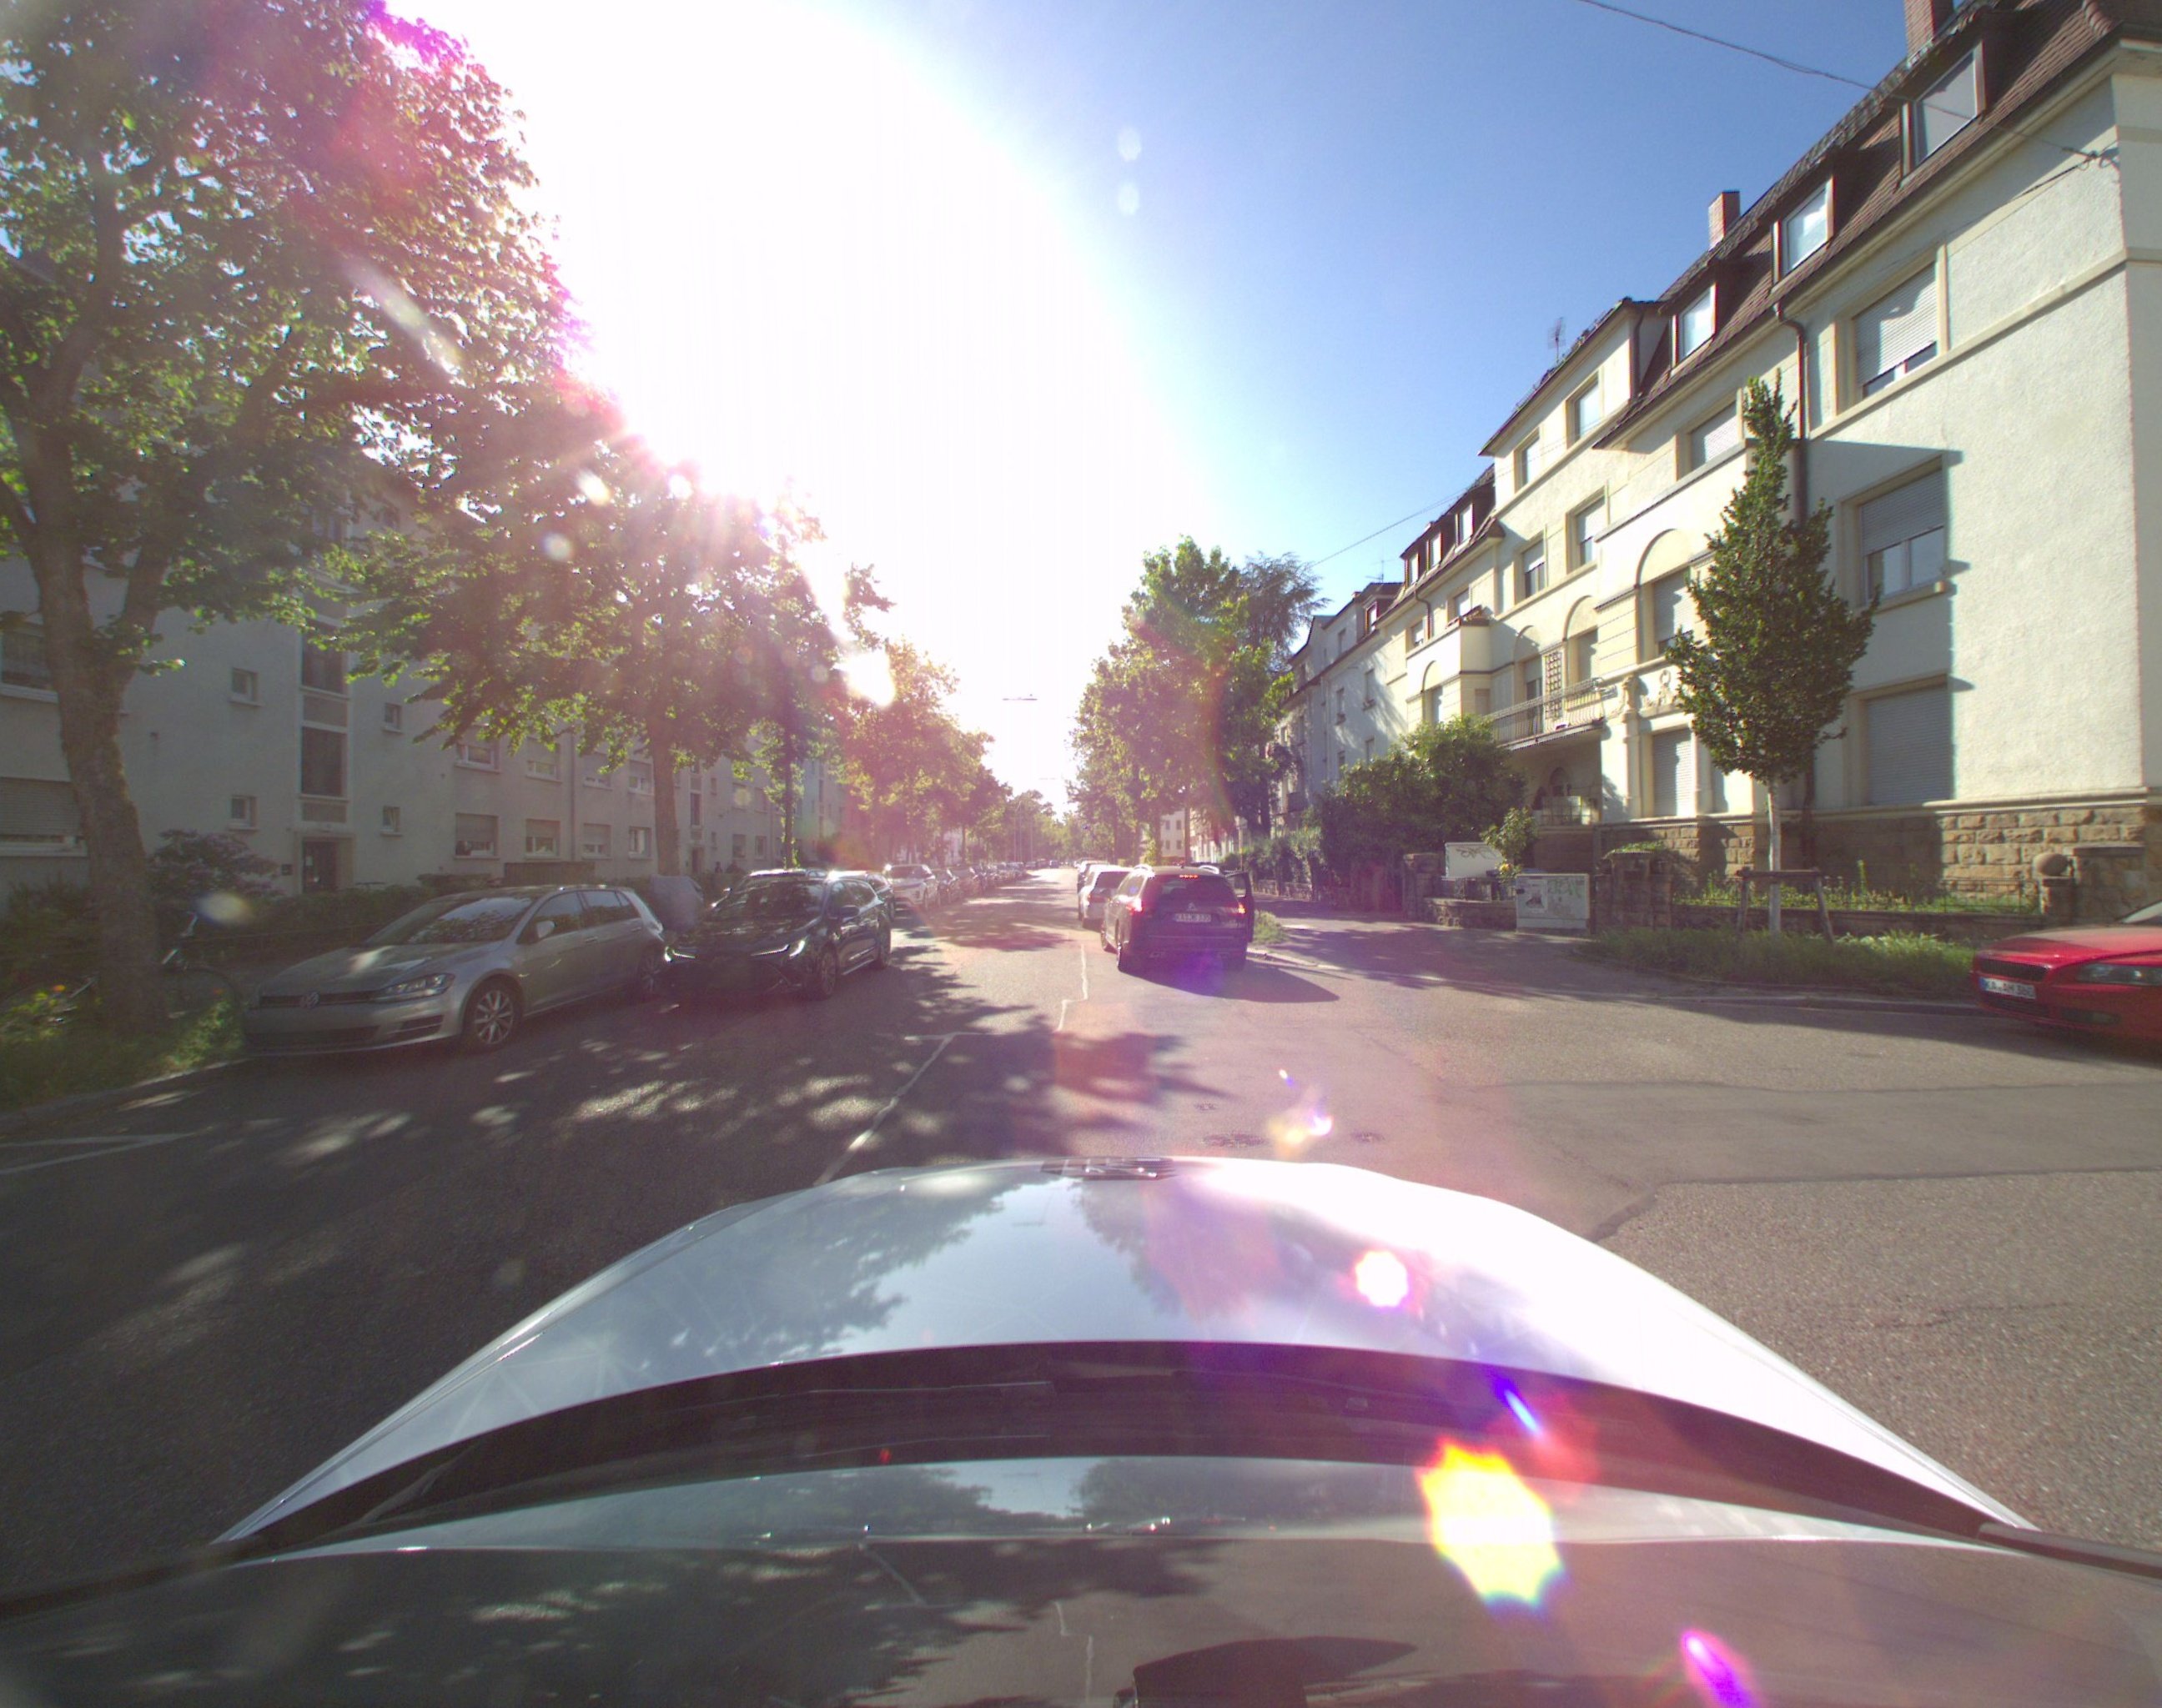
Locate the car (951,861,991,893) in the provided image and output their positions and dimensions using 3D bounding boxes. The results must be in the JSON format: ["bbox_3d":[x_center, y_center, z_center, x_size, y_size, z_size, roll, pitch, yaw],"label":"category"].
[{"bbox_3d":[-6.107,1.256,45.469,1.786,1.566,4.459,-4,0,-4],"label":"car"}]

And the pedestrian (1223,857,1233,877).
[{"bbox_3d":[8.706,0.755,48.241,0.507,1.142,0.756,0,-1,1],"label":"pedestrian"}]

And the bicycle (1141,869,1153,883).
[{"bbox_3d":[5.474,1.826,67.499,0.682,1.153,2.400,-1,-1,-3],"label":"bicycle"}]

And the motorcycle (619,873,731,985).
[{"bbox_3d":[-6.171,1.062,12.300,0.995,1.503,2.207,-1,-1,-40],"label":"motorcycle"}]

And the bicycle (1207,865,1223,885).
[{"bbox_3d":[7.014,1.092,42.705,0.579,0.975,1.904,-2,0,1],"label":"bicycle"}]

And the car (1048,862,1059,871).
[{"bbox_3d":[-5.364,2.358,157.890,1.780,1.609,3.993,-1,-1,-5],"label":"car"}]

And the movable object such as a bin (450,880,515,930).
[{"bbox_3d":[-13.861,1.168,18.884,0.928,1.092,0.753,-1,-1,-6],"label":"movable object such as a bin"}]

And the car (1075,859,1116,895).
[{"bbox_3d":[0.750,1.099,41.257,1.919,1.652,5.096,1,0,1],"label":"car"}]

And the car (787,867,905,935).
[{"bbox_3d":[-6.017,1.137,21.463,1.723,1.447,4.818,-3,0,-1],"label":"car"}]

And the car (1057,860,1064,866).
[{"bbox_3d":[-5.591,2.370,219.079,1.889,1.560,3.998,-1,0,-1],"label":"car"}]

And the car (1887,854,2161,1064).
[{"bbox_3d":[9.725,0.723,6.251,4.685,1.469,1.960,-1,-1,13],"label":"car"}]

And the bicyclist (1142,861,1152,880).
[{"bbox_3d":[5.465,1.343,67.378,0.675,1.553,1.020,-1,-1,-4],"label":"bicyclist"}]

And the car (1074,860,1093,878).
[{"bbox_3d":[0.284,1.625,91.421,1.965,1.949,4.982,-1,-1,-1],"label":"car"}]

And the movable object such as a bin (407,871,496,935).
[{"bbox_3d":[-13.746,1.042,17.839,0.928,1.324,1.376,-1,-1,-6],"label":"movable object such as a bin"}]

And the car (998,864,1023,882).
[{"bbox_3d":[-6.465,1.723,74.998,1.988,1.453,4.260,-3,-1,-1],"label":"car"}]

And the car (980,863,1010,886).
[{"bbox_3d":[-6.340,1.486,60.695,1.806,1.596,4.231,-2,-1,-1],"label":"car"}]

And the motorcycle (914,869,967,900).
[{"bbox_3d":[-6.390,1.370,36.984,2.286,1.270,0.805,-2,-1,-11],"label":"motorcycle"}]

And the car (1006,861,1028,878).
[{"bbox_3d":[-6.370,1.536,81.072,1.834,1.595,4.260,-3,-1,-1],"label":"car"}]

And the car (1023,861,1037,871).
[{"bbox_3d":[-8.428,1.947,135.151,1.987,1.671,3.999,-1,0,0],"label":"car"}]

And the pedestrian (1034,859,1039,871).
[{"bbox_3d":[-7.332,1.847,133.565,0.715,1.900,0.834,-1,-1,-10],"label":"pedestrian"}]

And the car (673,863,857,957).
[{"bbox_3d":[-6.045,0.984,16.280,2.059,1.524,4.716,-1,0,-3],"label":"car"}]

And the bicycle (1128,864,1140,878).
[{"bbox_3d":[4.426,1.382,67.654,0.682,1.153,2.400,-1,-1,-3],"label":"bicycle"}]

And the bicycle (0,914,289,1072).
[{"bbox_3d":[-8.366,1.136,7.153,0.528,1.015,2.093,6,0,5],"label":"bicycle"}]

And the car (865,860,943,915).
[{"bbox_3d":[-5.974,1.082,28.028,1.724,1.618,4.363,-4,0,-1],"label":"car"}]

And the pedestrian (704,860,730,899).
[{"bbox_3d":[-18.029,1.268,40.344,0.773,1.913,0.884,-2,-1,26],"label":"pedestrian"}]

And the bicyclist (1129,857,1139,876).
[{"bbox_3d":[4.420,1.046,67.609,0.675,1.609,0.920,-1,-1,-4],"label":"bicyclist"}]

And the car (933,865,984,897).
[{"bbox_3d":[-6.004,1.303,40.354,1.774,1.379,4.261,-3,-1,0],"label":"car"}]

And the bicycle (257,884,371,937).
[{"bbox_3d":[-16.896,1.215,18.017,0.785,1.041,1.932,-1,-1,-5],"label":"bicycle"}]

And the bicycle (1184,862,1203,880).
[{"bbox_3d":[7.125,1.098,51.633,0.802,1.115,1.997,0,-1,-3],"label":"bicycle"}]

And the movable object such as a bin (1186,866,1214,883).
[{"bbox_3d":[6.754,1.183,46.206,1.211,0.905,1.672,-1,0,20],"label":"movable object such as a bin"}]

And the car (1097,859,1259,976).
[{"bbox_3d":[1.322,0.878,13.165,1.890,1.524,4.963,0,-1,-2],"label":"car"}]

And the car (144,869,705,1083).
[{"bbox_3d":[-6.029,0.960,8.462,2.036,1.524,4.606,-1,0,1],"label":"car"}]

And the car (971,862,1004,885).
[{"bbox_3d":[-6.288,1.295,55.160,1.757,1.443,3.906,-3,-1,-1],"label":"car"}]

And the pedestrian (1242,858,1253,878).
[{"bbox_3d":[9.919,0.824,48.567,0.508,1.142,0.755,0,-1,-2],"label":"pedestrian"}]

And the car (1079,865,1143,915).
[{"bbox_3d":[0.875,1.074,25.954,1.706,1.410,4.858,1,0,-2],"label":"car"}]

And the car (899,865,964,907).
[{"bbox_3d":[-6.037,1.244,33.366,1.723,1.477,4.618,-4,0,0],"label":"car"}]

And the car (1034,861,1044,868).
[{"bbox_3d":[-8.915,2.217,172.208,1.987,1.585,3.999,-1,0,0],"label":"car"}]

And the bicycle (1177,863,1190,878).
[{"bbox_3d":[7.056,1.140,56.179,0.594,0.957,1.903,-2,0,0],"label":"bicycle"}]

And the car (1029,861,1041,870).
[{"bbox_3d":[-8.505,2.092,150.433,1.987,1.585,3.999,-1,0,0],"label":"car"}]

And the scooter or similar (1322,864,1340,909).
[{"bbox_3d":[6.811,0.869,22.192,0.398,1.185,1.210,-1,0,15],"label":"scooter or similar"}]

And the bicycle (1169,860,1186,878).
[{"bbox_3d":[6.953,1.063,58.578,0.837,1.257,2.228,0,-1,-4],"label":"bicycle"}]

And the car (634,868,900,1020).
[{"bbox_3d":[-3.732,0.968,10.605,1.804,1.445,4.363,-2,-1,-1],"label":"car"}]

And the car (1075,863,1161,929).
[{"bbox_3d":[0.828,0.987,20.965,1.816,1.469,4.906,1,0,-2],"label":"car"}]

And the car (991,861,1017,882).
[{"bbox_3d":[-6.242,1.392,66.423,1.705,1.544,3.929,-3,-1,0],"label":"car"}]

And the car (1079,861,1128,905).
[{"bbox_3d":[0.827,1.083,31.679,1.650,1.532,3.966,2,0,-2],"label":"car"}]

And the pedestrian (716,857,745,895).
[{"bbox_3d":[-17.894,1.095,41.586,0.927,1.888,1.029,-1,-1,11],"label":"pedestrian"}]
